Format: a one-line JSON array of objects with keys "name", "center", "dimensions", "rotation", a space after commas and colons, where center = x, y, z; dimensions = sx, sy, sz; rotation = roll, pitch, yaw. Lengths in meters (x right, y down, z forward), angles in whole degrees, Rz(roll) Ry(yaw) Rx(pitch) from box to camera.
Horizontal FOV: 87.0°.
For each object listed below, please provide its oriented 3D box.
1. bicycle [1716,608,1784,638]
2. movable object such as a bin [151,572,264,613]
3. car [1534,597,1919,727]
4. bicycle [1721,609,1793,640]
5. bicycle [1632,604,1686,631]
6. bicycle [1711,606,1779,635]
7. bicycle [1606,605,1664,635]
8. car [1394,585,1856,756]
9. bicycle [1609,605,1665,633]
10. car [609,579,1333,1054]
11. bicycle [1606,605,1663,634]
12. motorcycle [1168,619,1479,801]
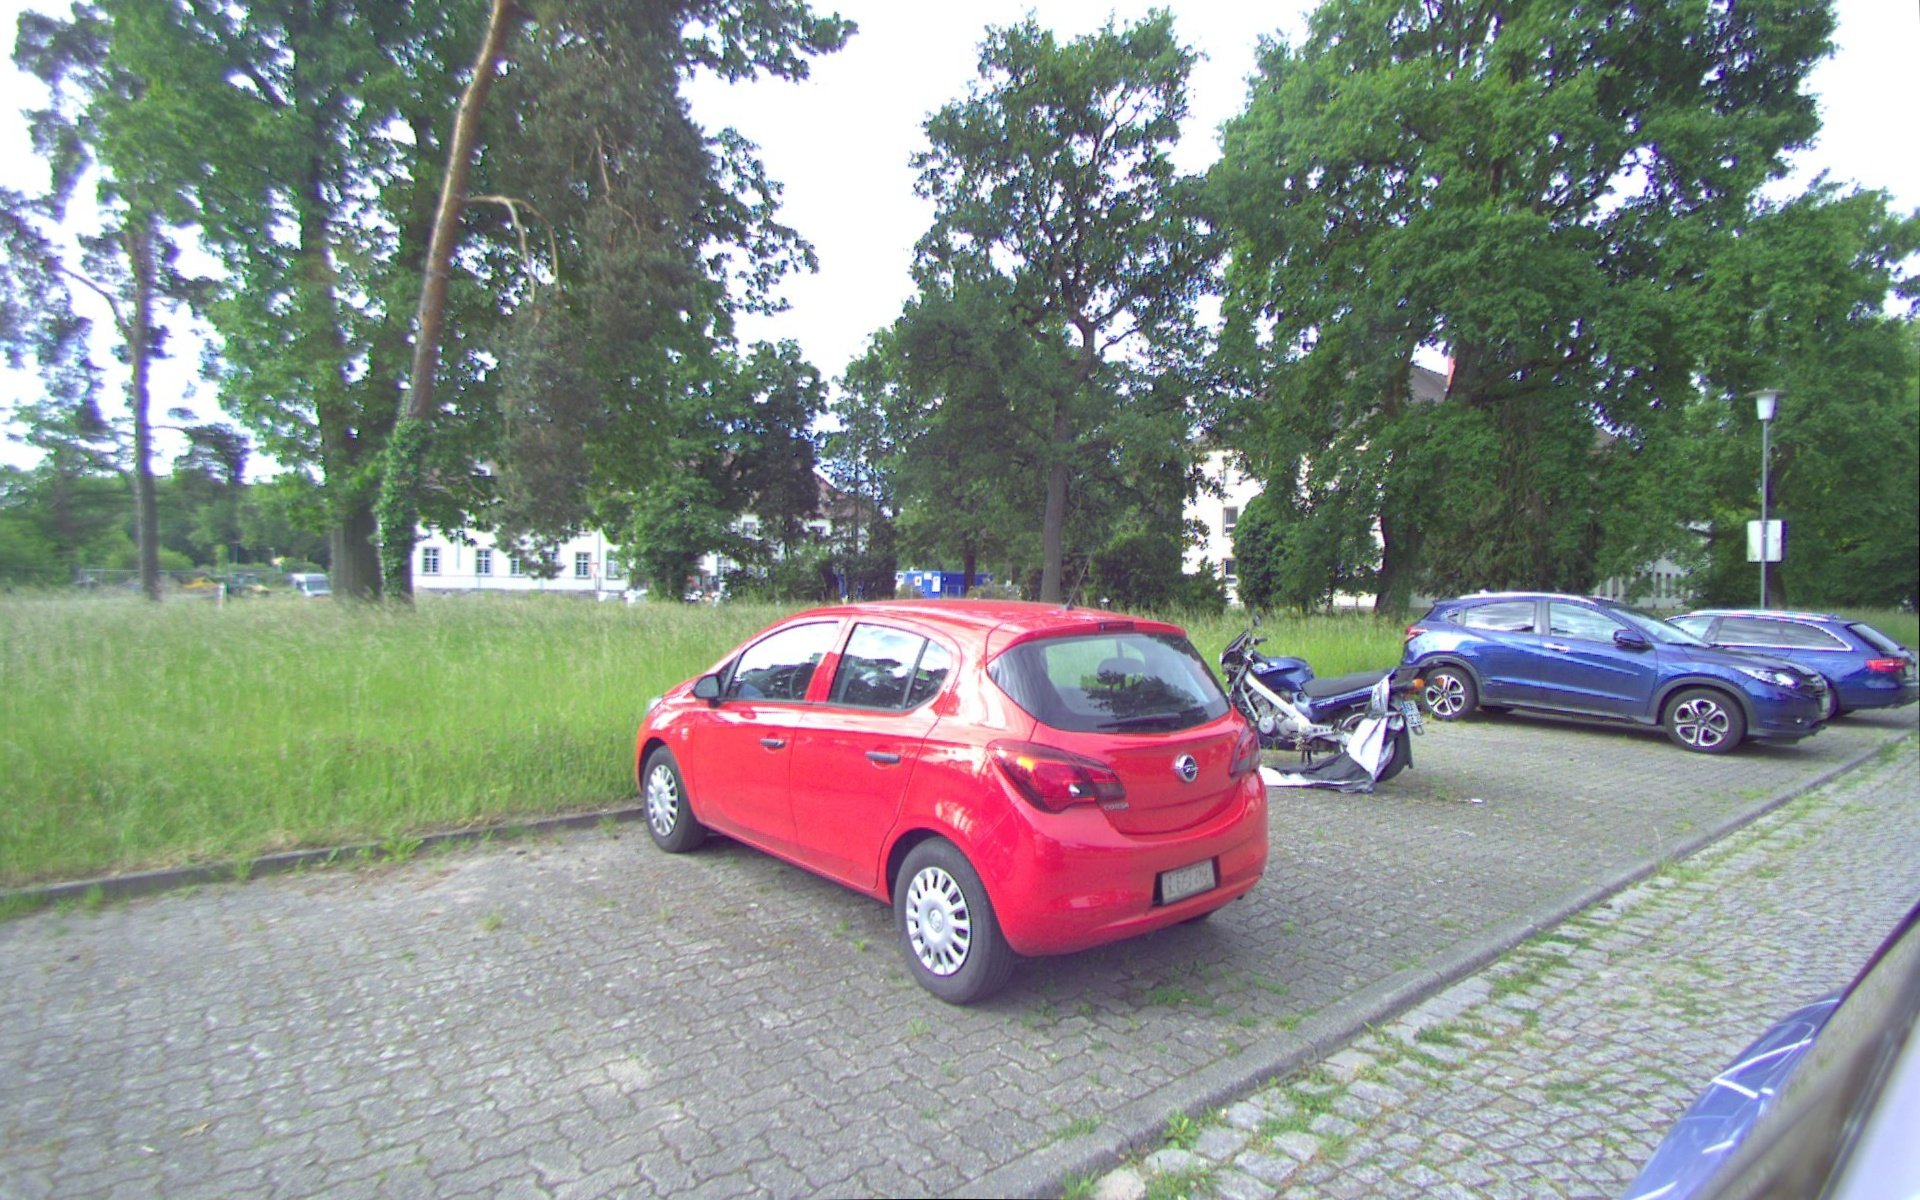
[{"name": "bicycle", "center": [29.900, 0.852, 38.335], "dimensions": [1.951, 1.090, 0.583], "rotation": [0, 0, 23]}, {"name": "movable object such as a bin", "center": [-49.710, -0.501, 66.928], "dimensions": [5.862, 2.688, 2.176], "rotation": [0, 0, -1]}, {"name": "car", "center": [11.074, 0.751, 14.640], "dimensions": [1.751, 1.439, 4.484], "rotation": [0, 2, -37]}, {"name": "bicycle", "center": [29.051, 0.892, 36.924], "dimensions": [1.951, 1.090, 0.583], "rotation": [0, 0, 23]}, {"name": "bicycle", "center": [29.850, 0.752, 43.234], "dimensions": [1.840, 1.137, 0.616], "rotation": [0, 0, 28]}, {"name": "bicycle", "center": [31.101, 0.797, 40.129], "dimensions": [2.010, 1.090, 0.616], "rotation": [0, 0, 28]}, {"name": "bicycle", "center": [26.732, 0.776, 40.083], "dimensions": [1.840, 1.137, 0.616], "rotation": [0, 0, 28]}, {"name": "car", "center": [7.480, 0.637, 11.747], "dimensions": [1.761, 1.591, 4.171], "rotation": [-1, 1, -40]}, {"name": "bicycle", "center": [28.066, 0.769, 41.969], "dimensions": [1.840, 1.137, 0.616], "rotation": [0, 0, 28]}, {"name": "car", "center": [-0.271, 0.674, 5.349], "dimensions": [1.748, 1.478, 3.834], "rotation": [0, 2, -40]}, {"name": "bicycle", "center": [27.059, 0.774, 40.629], "dimensions": [1.840, 1.137, 0.616], "rotation": [0, 0, 28]}, {"name": "motorcycle", "center": [2.933, 0.814, 8.428], "dimensions": [0.782, 1.200, 2.330], "rotation": [0, 1, -42]}]
